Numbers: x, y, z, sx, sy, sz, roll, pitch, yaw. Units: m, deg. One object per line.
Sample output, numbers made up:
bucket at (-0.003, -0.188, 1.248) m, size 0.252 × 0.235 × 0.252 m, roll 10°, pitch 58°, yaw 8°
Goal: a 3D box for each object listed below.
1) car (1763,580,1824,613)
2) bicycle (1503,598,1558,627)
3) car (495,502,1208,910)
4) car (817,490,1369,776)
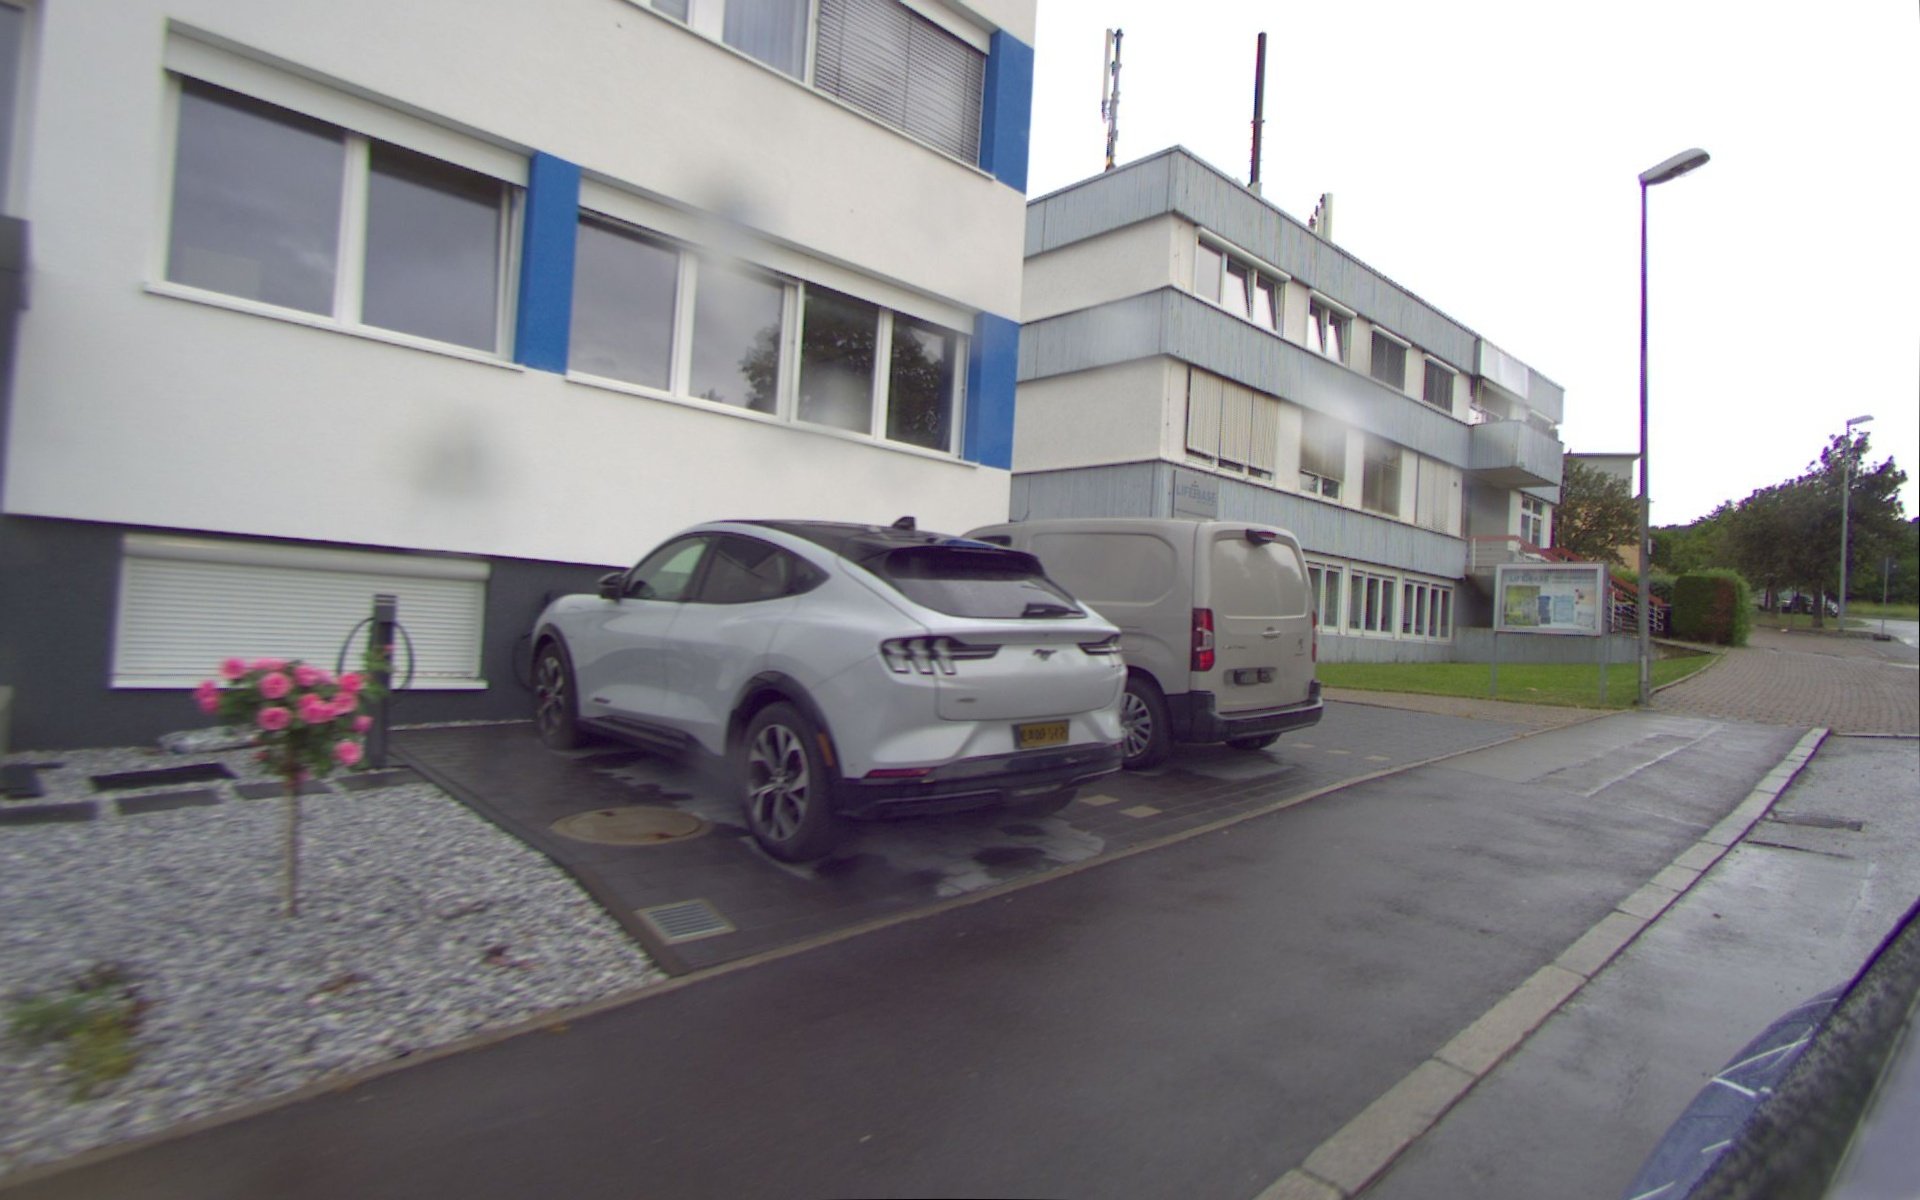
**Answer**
car at (63.425, -0.315, 77.120) m, size 2.031 × 2.360 × 5.367 m, roll 2°, pitch 1°, yaw 22°
bicycle at (17.151, 0.364, 30.466) m, size 1.406 × 0.840 × 0.284 m, roll 2°, pitch 1°, yaw 25°
car at (-1.037, 0.265, 6.254) m, size 2.044 × 1.557 × 4.605 m, roll 0°, pitch 3°, yaw -42°
car at (0.897, 0.119, 8.649) m, size 2.054 × 1.795 × 4.346 m, roll 0°, pitch 2°, yaw -43°
